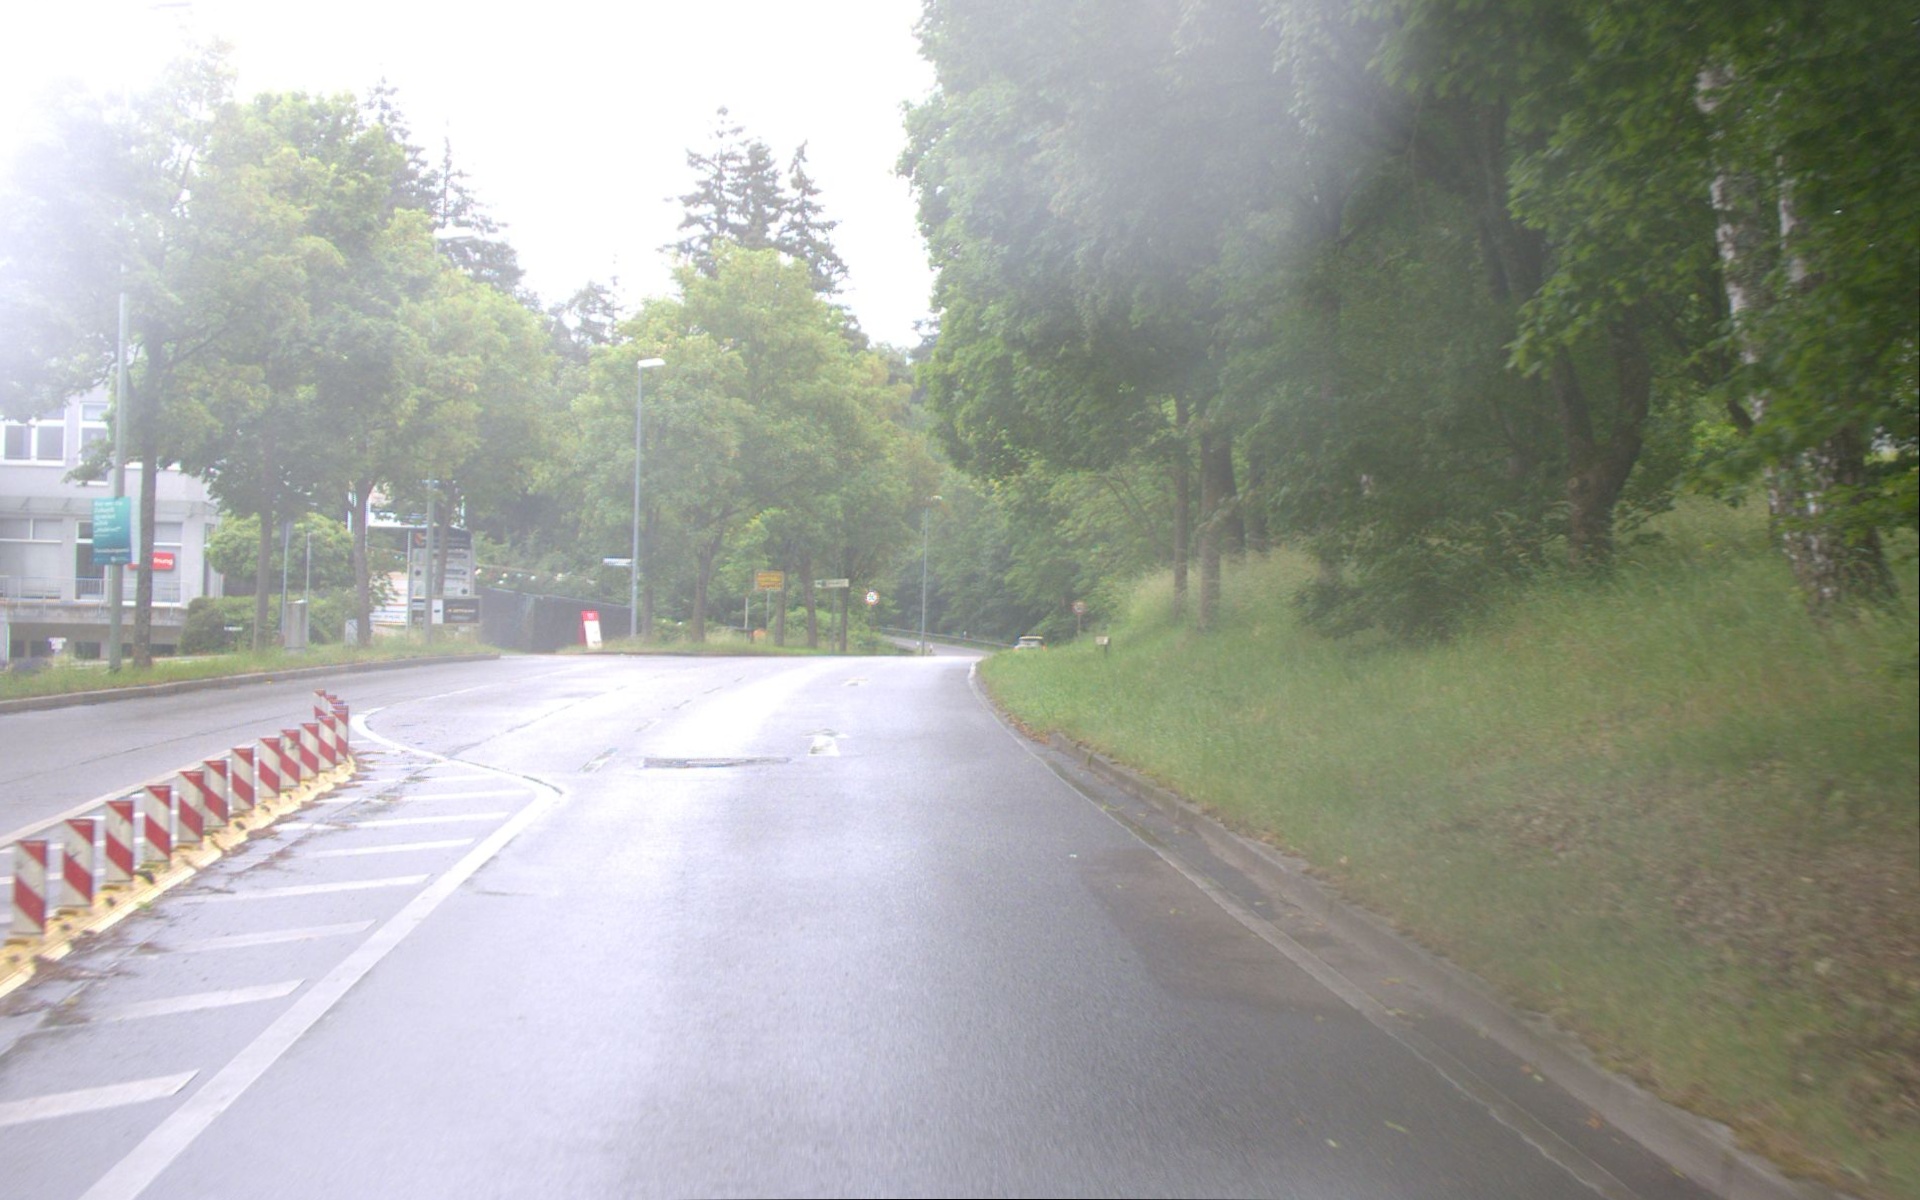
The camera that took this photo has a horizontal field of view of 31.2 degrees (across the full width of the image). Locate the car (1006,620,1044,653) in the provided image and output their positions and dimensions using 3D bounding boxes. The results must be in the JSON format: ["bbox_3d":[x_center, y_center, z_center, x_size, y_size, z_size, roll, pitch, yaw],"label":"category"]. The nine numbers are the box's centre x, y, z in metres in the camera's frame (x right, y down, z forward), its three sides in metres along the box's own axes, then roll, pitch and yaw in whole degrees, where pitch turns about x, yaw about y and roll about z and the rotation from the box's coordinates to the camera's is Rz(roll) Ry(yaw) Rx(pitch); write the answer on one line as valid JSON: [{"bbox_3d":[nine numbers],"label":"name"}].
[{"bbox_3d":[3.047,1.725,161.417,1.736,1.505,4.000,-1,-1,1],"label":"car"}]
